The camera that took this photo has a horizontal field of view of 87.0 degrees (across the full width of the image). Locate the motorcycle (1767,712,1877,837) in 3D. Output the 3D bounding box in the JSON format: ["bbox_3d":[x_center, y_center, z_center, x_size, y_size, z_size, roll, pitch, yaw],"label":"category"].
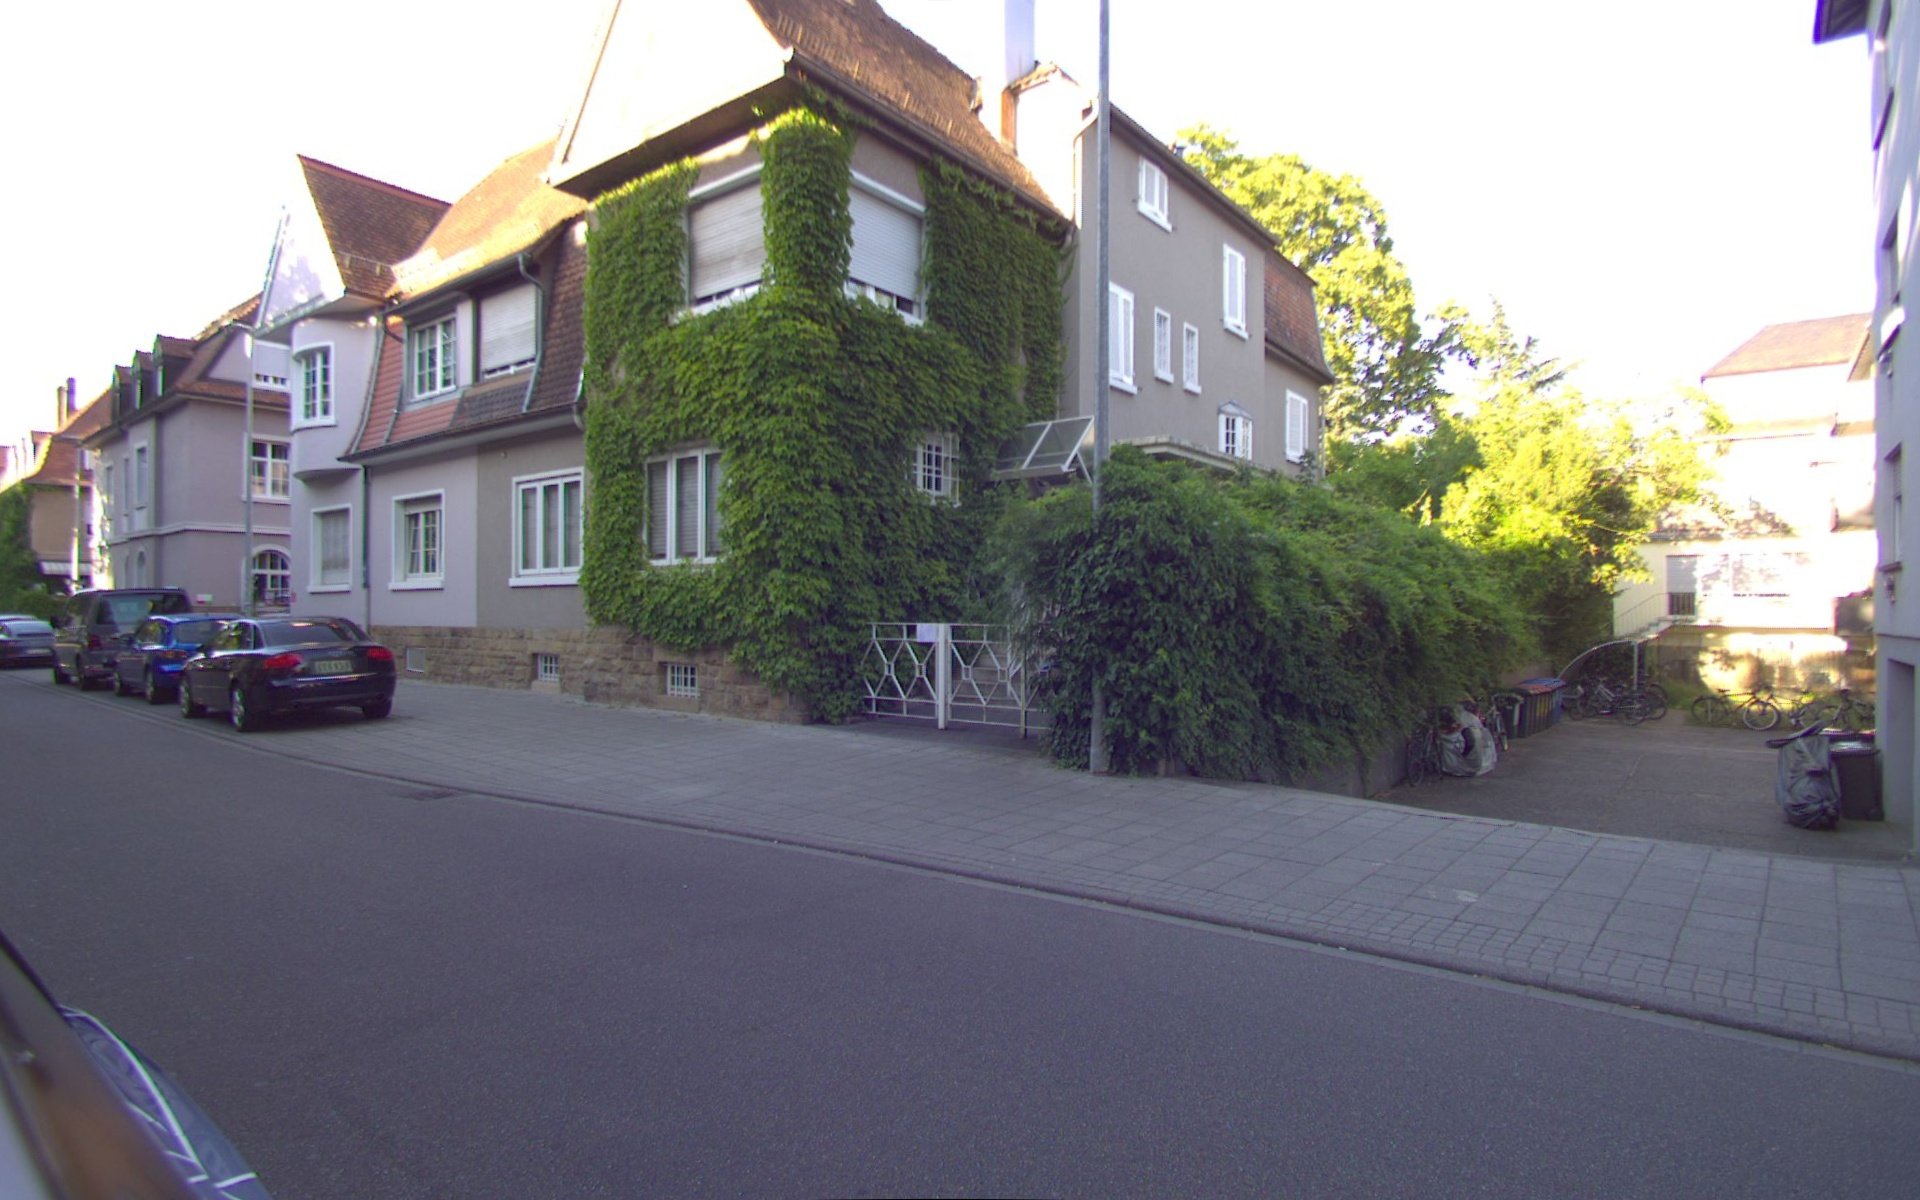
[{"bbox_3d":[10.706,2.121,12.624,0.742,1.305,1.565,-1,-2,30],"label":"motorcycle"}]

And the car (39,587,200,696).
[{"bbox_3d":[-17.525,0.795,21.018,4.610,1.990,1.819,-1,1,41],"label":"car"}]

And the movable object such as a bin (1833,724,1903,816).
[{"bbox_3d":[12.297,2.282,13.726,0.611,1.123,0.792,-1,-4,37],"label":"movable object such as a bin"}]

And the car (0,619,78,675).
[{"bbox_3d":[-26.159,1.277,28.300,4.063,1.394,1.906,-1,1,44],"label":"car"}]

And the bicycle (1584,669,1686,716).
[{"bbox_3d":[19.200,2.617,28.828,2.338,1.186,0.685,-1,-4,42],"label":"bicycle"}]

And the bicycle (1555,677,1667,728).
[{"bbox_3d":[16.240,2.536,25.300,2.294,1.142,0.685,-1,-4,42],"label":"bicycle"}]

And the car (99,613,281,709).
[{"bbox_3d":[-13.637,0.988,17.847,4.060,1.457,1.745,-1,1,41],"label":"car"}]

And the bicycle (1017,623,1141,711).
[{"bbox_3d":[1.700,0.897,14.187,0.476,1.111,2.172,-1,-1,45],"label":"bicycle"}]

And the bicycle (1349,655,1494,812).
[{"bbox_3d":[6.823,1.790,14.752,0.971,1.907,4.138,-1,-3,38],"label":"bicycle"}]

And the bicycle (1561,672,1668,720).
[{"bbox_3d":[17.505,2.560,27.110,2.338,1.142,0.685,-1,-4,42],"label":"bicycle"}]

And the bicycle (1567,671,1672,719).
[{"bbox_3d":[18.056,2.580,27.762,2.338,1.186,0.685,-1,-4,42],"label":"bicycle"}]

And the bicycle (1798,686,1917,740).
[{"bbox_3d":[20.370,2.553,23.024,2.005,1.080,0.558,-1,-4,42],"label":"bicycle"}]

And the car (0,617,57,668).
[{"bbox_3d":[-30.172,1.309,32.034,4.061,1.478,1.907,-1,1,42],"label":"car"}]

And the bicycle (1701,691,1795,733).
[{"bbox_3d":[18.893,2.679,24.299,1.754,0.886,0.558,-1,-4,42],"label":"bicycle"}]

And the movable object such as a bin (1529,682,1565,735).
[{"bbox_3d":[13.177,2.427,22.715,0.611,1.123,0.792,-1,-4,37],"label":"movable object such as a bin"}]

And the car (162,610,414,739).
[{"bbox_3d":[-9.411,0.916,14.029,4.426,1.457,1.783,-1,1,41],"label":"car"}]

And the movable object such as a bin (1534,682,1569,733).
[{"bbox_3d":[13.648,2.460,23.346,0.611,1.123,0.792,-1,-4,37],"label":"movable object such as a bin"}]

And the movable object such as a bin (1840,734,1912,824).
[{"bbox_3d":[11.715,2.277,12.965,0.611,1.045,0.532,-1,-4,37],"label":"movable object such as a bin"}]

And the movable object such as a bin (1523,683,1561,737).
[{"bbox_3d":[12.701,2.391,22.073,0.611,1.123,0.792,-1,-4,37],"label":"movable object such as a bin"}]

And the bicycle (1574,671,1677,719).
[{"bbox_3d":[18.590,2.634,28.301,2.338,1.186,0.685,-1,-4,42],"label":"bicycle"}]

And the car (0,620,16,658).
[{"bbox_3d":[-36.323,1.456,37.512,3.676,1.372,1.641,-1,1,42],"label":"car"}]
